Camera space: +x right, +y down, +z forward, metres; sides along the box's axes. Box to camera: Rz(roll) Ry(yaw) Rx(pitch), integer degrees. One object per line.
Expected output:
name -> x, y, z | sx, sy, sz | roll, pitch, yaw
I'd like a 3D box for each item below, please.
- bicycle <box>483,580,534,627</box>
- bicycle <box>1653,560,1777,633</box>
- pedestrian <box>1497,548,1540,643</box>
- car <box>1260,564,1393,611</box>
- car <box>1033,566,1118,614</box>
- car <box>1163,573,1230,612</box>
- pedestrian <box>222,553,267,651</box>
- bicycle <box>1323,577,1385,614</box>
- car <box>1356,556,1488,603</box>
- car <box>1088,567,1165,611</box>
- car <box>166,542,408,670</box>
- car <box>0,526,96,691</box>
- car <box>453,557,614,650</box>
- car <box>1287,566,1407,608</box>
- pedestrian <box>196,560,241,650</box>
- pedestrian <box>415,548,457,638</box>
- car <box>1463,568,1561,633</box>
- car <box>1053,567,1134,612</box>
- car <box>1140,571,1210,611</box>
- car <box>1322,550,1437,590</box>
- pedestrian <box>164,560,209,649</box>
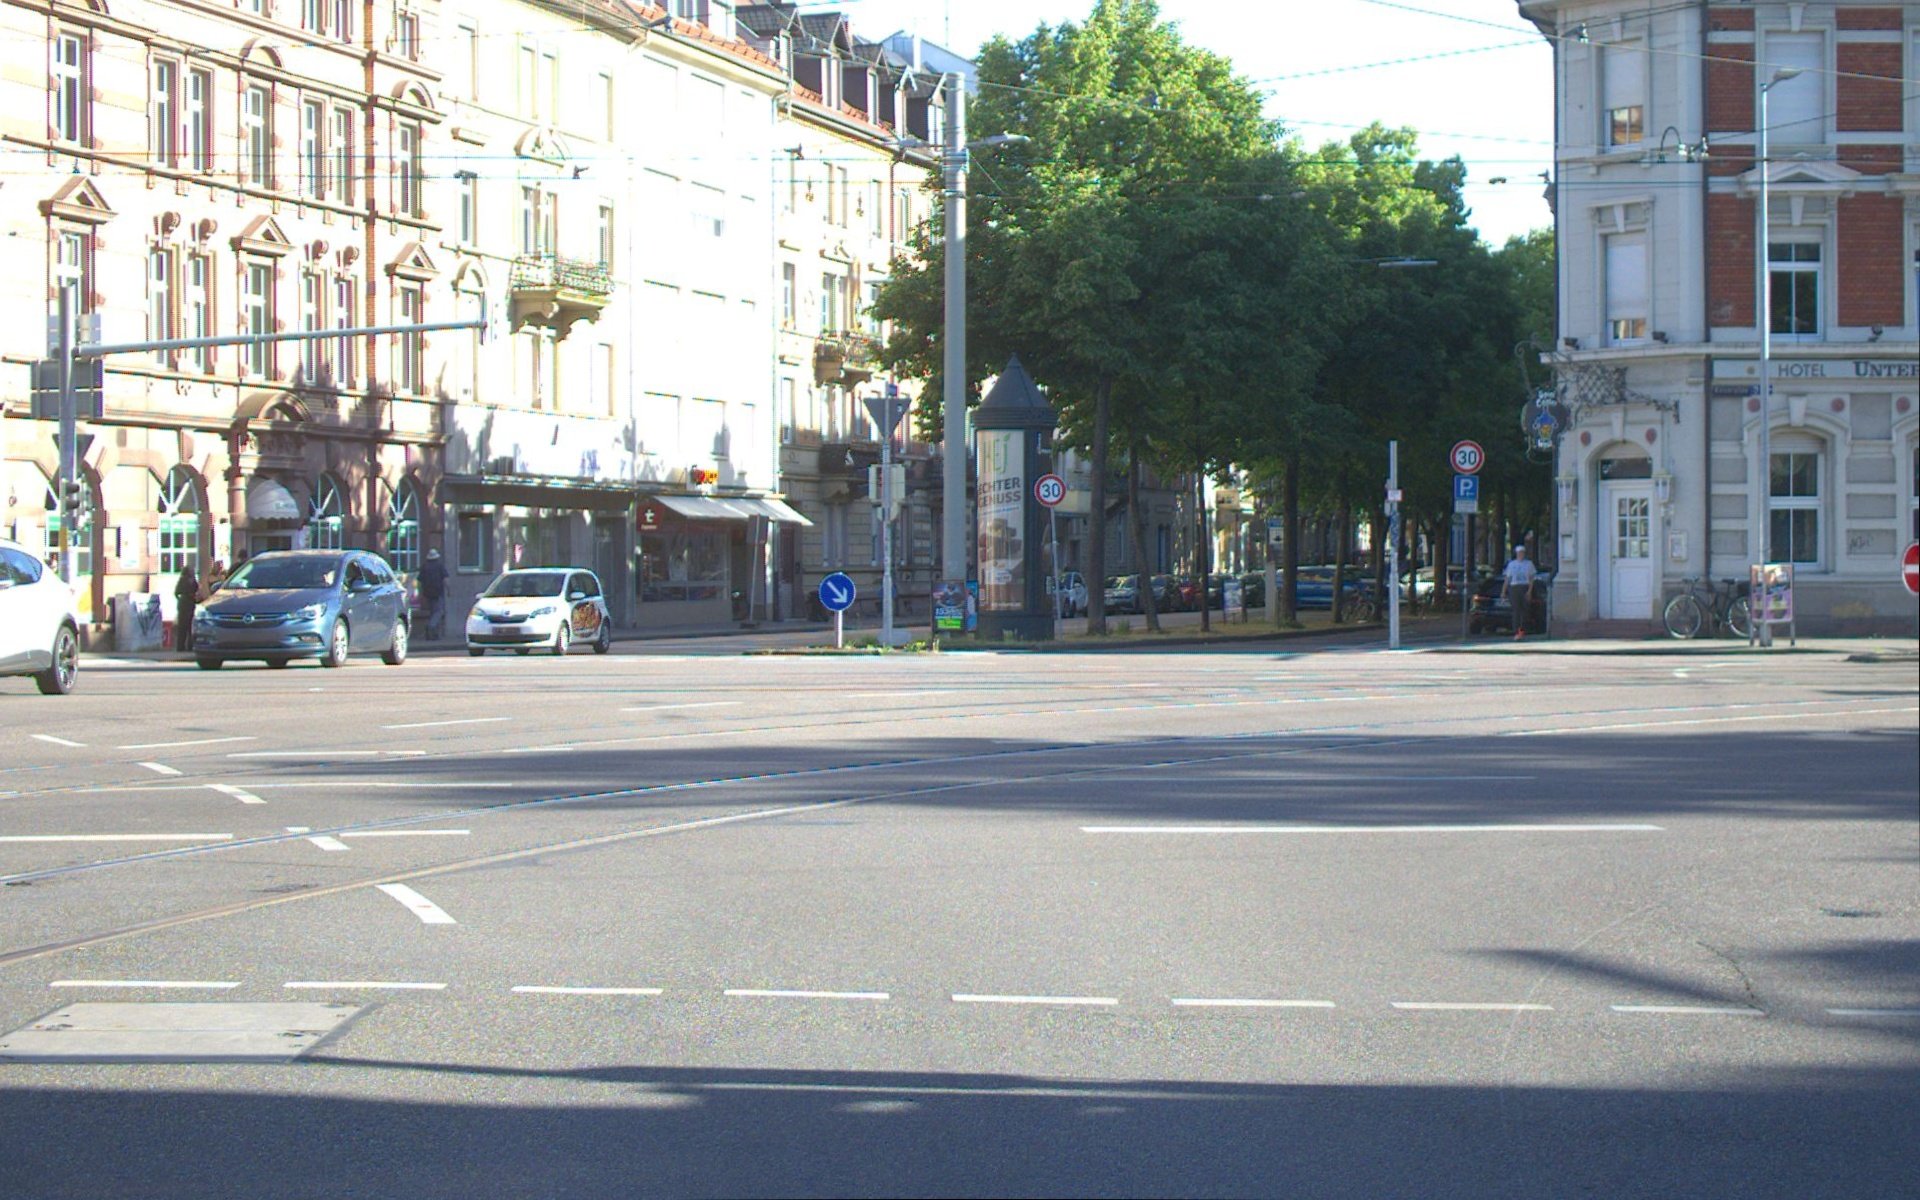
bicycle -> -10.436, 0.068, 79.549 | 0.495, 1.063, 1.768 | 0, 1, 16
bicycle -> 12.550, -0.061, 57.172 | 1.961, 1.186, 0.546 | 0, 1, 5
pedestrian -> 9.890, -0.091, 60.865 | 0.716, 1.664, 0.939 | 0, 1, 12
car -> 12.313, -0.421, 115.661 | 3.993, 1.540, 1.997 | 0, 1, 28
car -> 3.801, -0.340, 112.870 | 1.995, 1.492, 4.031 | 0, 1, 14
car -> 9.404, -0.315, 136.529 | 1.995, 1.492, 4.031 | 0, 1, 14
pedestrian -> -13.362, 0.035, 64.189 | 0.580, 1.830, 0.632 | 0, 1, 16
bicycle -> 11.372, -0.132, 99.247 | 0.582, 1.063, 1.949 | -1, 1, -37
car -> 15.658, -0.697, 116.557 | 3.994, 1.540, 1.997 | 0, 1, 31
car -> 5.969, -0.403, 122.593 | 1.995, 1.492, 4.031 | 0, 1, 14
car -> -8.276, 0.033, 42.667 | 1.774, 1.492, 4.573 | 0, 1, 5
car -> -9.651, 0.068, 31.871 | 1.994, 1.492, 4.347 | 0, 1, 3
car -> -7.143, 0.034, 57.941 | 1.718, 1.492, 3.582 | 0, 1, 10
car -> 14.435, -0.495, 128.302 | 3.993, 1.540, 1.997 | 0, 1, 28
pedestrian -> -13.585, 0.096, 62.986 | 0.551, 1.636, 0.632 | 0, 1, 16
pedestrian -> -11.217, -0.154, 73.604 | 0.682, 1.902, 0.632 | 0, 1, 16
car -> 13.264, -0.002, 82.412 | 1.995, 1.492, 4.031 | 0, 1, 14
car -> 4.578, -0.373, 117.357 | 1.995, 1.492, 4.031 | 0, 1, 14
car -> 8.266, -0.357, 131.797 | 1.995, 1.492, 4.031 | 0, 1, 14
car -> 16.362, -1.173, 134.173 | 3.993, 1.540, 1.997 | 0, 1, 28
pedestrian -> -14.293, 0.085, 63.511 | 0.627, 1.636, 0.537 | 0, 1, 13
